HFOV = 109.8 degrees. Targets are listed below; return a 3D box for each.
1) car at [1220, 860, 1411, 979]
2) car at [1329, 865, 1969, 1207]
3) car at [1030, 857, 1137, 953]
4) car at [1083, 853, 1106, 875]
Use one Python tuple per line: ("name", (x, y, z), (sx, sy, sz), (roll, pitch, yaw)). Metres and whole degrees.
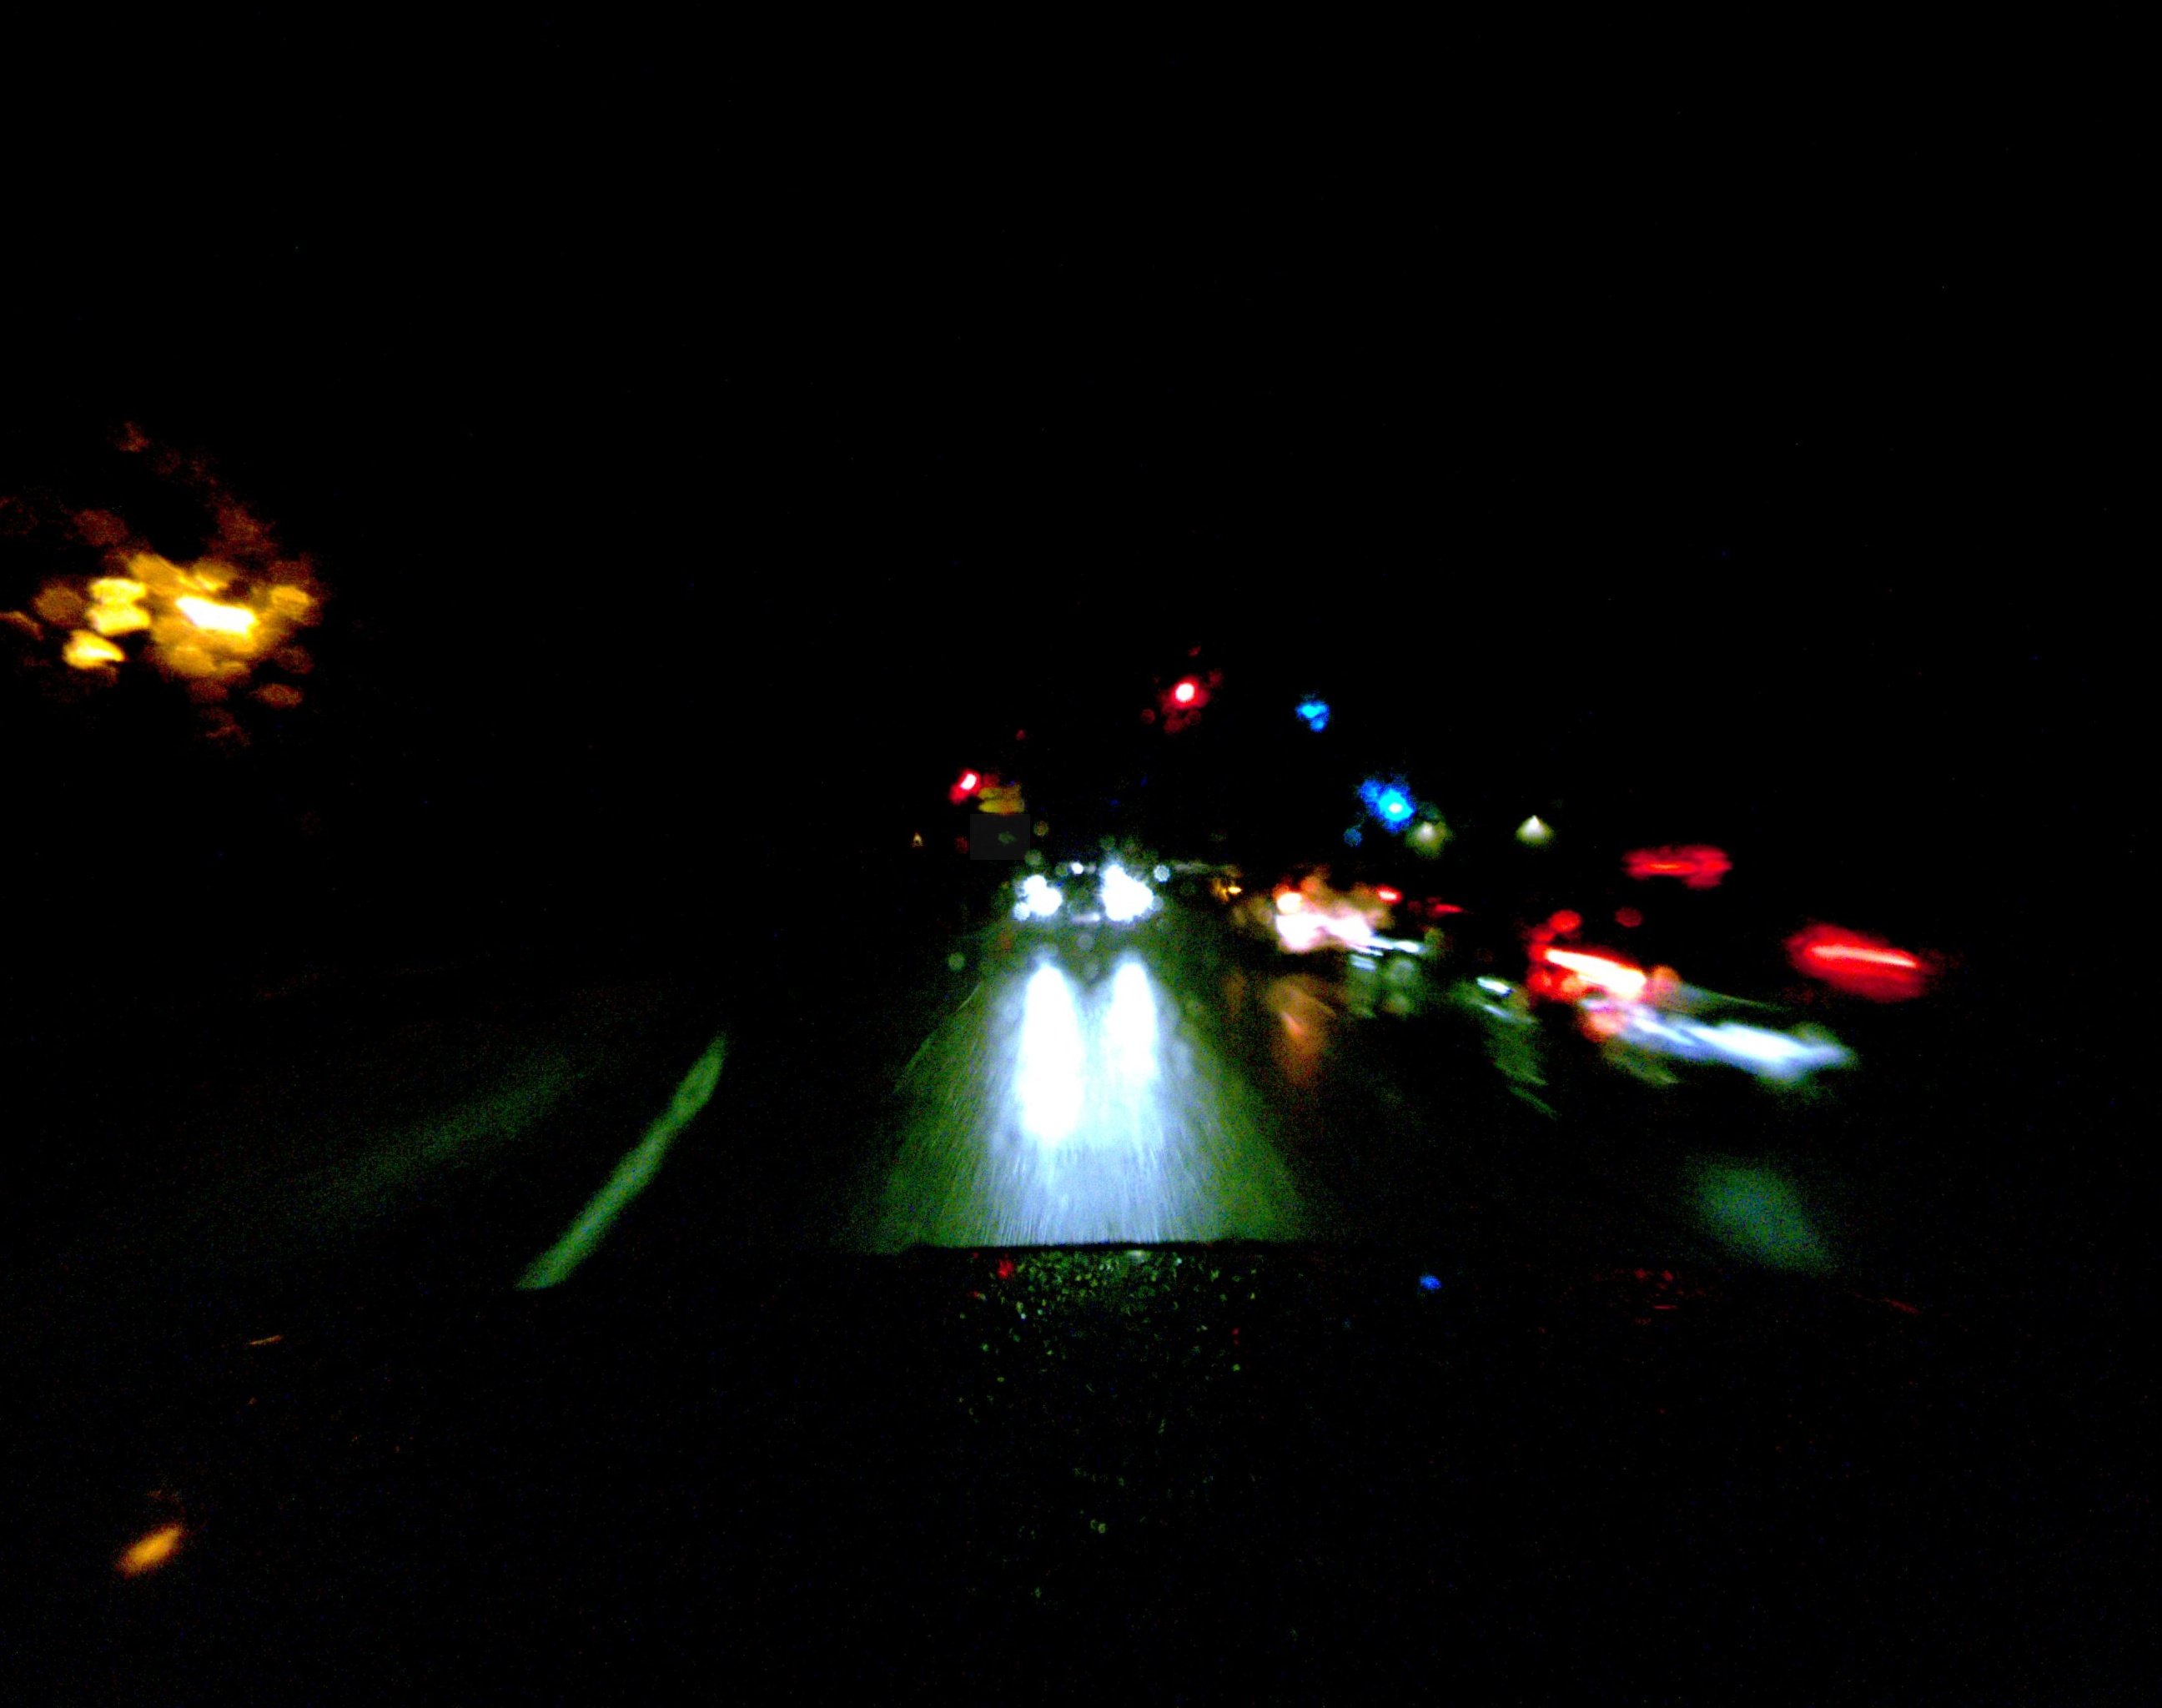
("car", (3.372, 0.860, 11.666), (1.673, 1.464, 3.632), (-2, 0, -2))
("car", (3.237, 0.860, 5.416), (1.626, 1.464, 3.884), (-2, 0, 0))
("car", (0.144, 0.877, 15.389), (1.809, 1.590, 4.787), (-1, 0, 2))
("car", (1.209, 0.825, 67.504), (1.759, 1.807, 4.711), (-2, 0, 4))
